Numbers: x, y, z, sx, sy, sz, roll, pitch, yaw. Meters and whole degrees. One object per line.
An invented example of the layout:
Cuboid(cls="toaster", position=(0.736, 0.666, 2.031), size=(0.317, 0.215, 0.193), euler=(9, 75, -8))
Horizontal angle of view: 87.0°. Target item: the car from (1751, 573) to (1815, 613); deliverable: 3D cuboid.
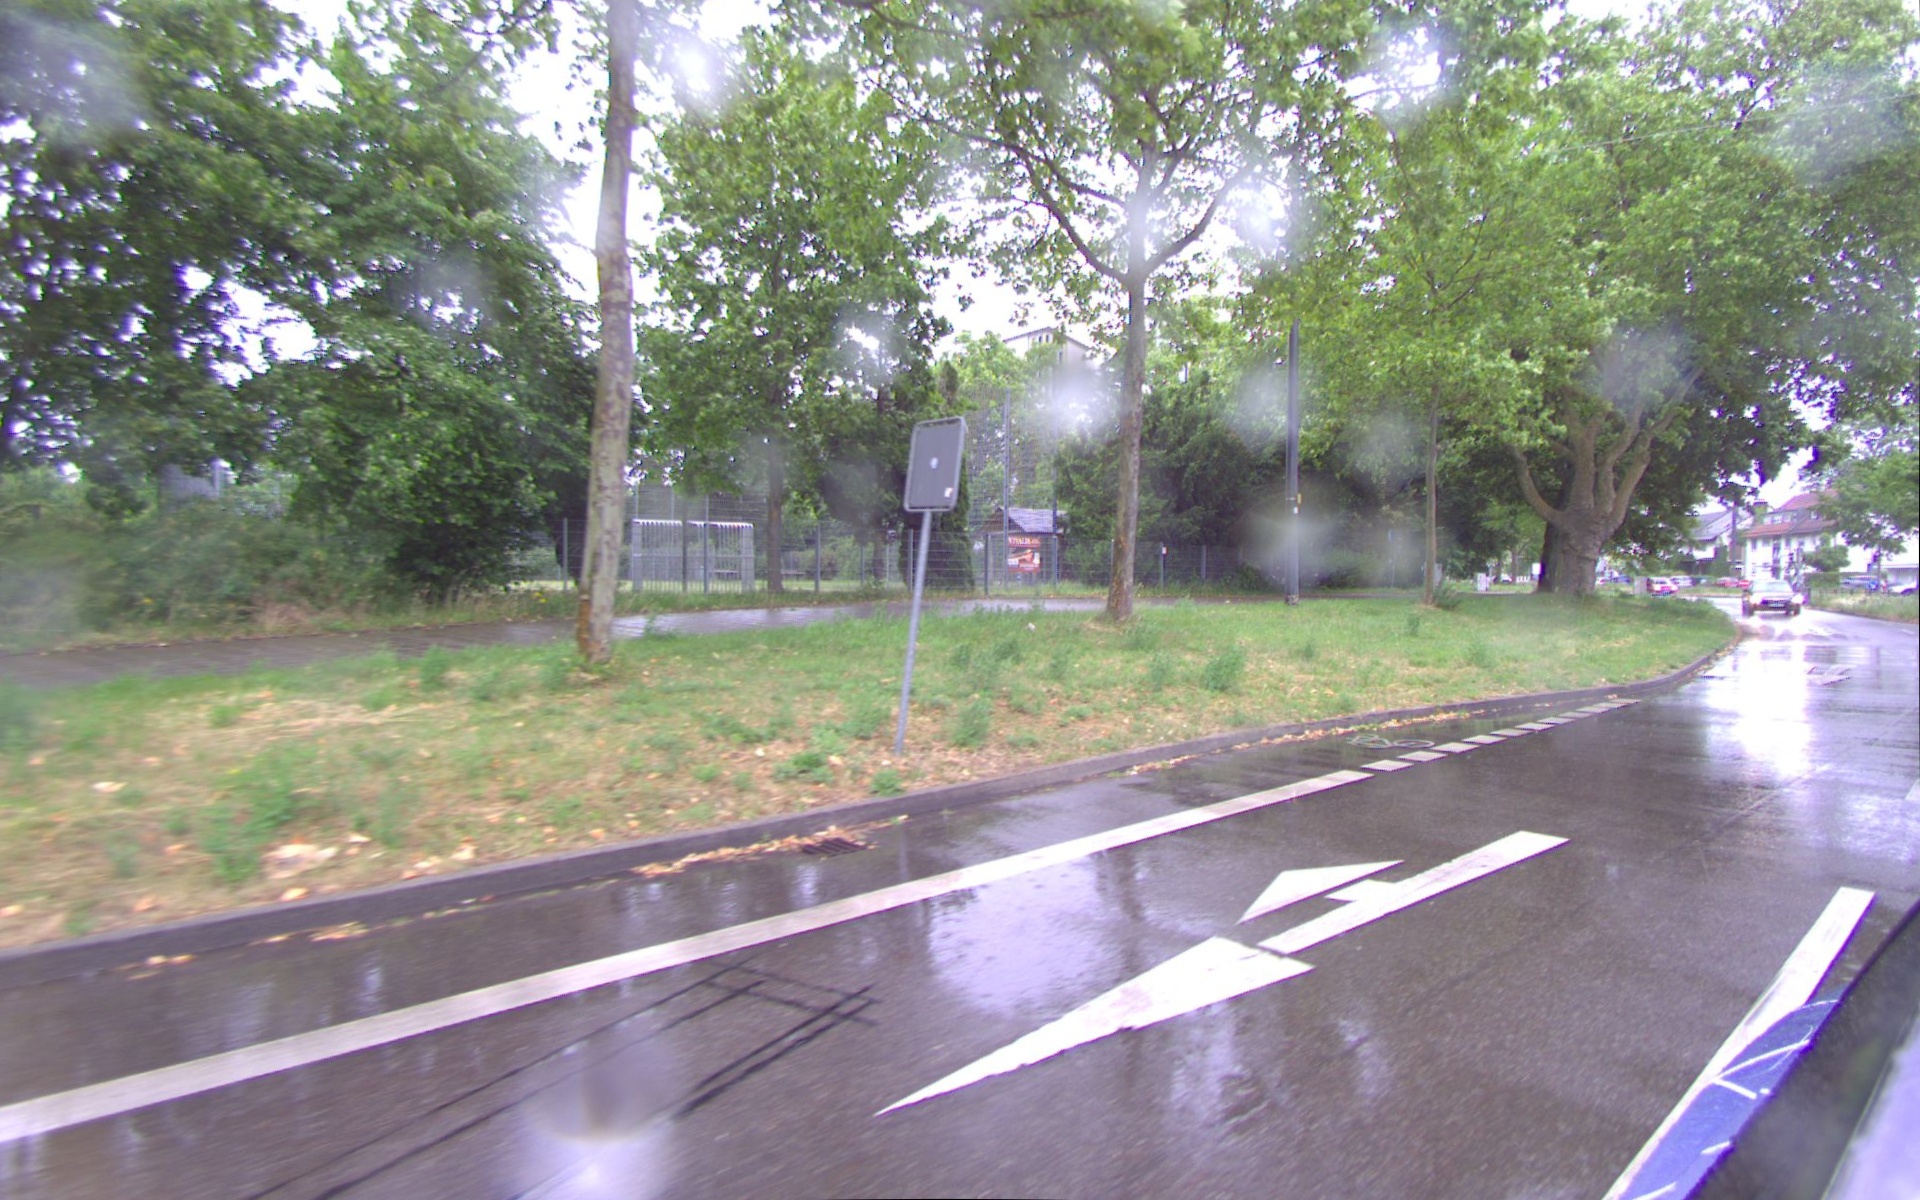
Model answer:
Cuboid(cls="car", position=(35.393, -0.334, 43.610), size=(1.861, 1.638, 3.762), euler=(0, 1, 35))

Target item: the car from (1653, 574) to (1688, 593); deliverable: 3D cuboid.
Cuboid(cls="car", position=(53.485, -1.276, 76.230), size=(1.773, 1.398, 3.826), euler=(0, 1, 29))

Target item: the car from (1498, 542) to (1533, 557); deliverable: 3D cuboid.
Cuboid(cls="car", position=(74.260, -6.710, 135.351), size=(3.957, 1.850, 1.983), euler=(0, 1, 25))

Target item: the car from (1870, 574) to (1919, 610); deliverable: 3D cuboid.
Cuboid(cls="car", position=(39.620, -0.330, 40.965), size=(4.024, 1.438, 1.652), euler=(0, 1, 39))
